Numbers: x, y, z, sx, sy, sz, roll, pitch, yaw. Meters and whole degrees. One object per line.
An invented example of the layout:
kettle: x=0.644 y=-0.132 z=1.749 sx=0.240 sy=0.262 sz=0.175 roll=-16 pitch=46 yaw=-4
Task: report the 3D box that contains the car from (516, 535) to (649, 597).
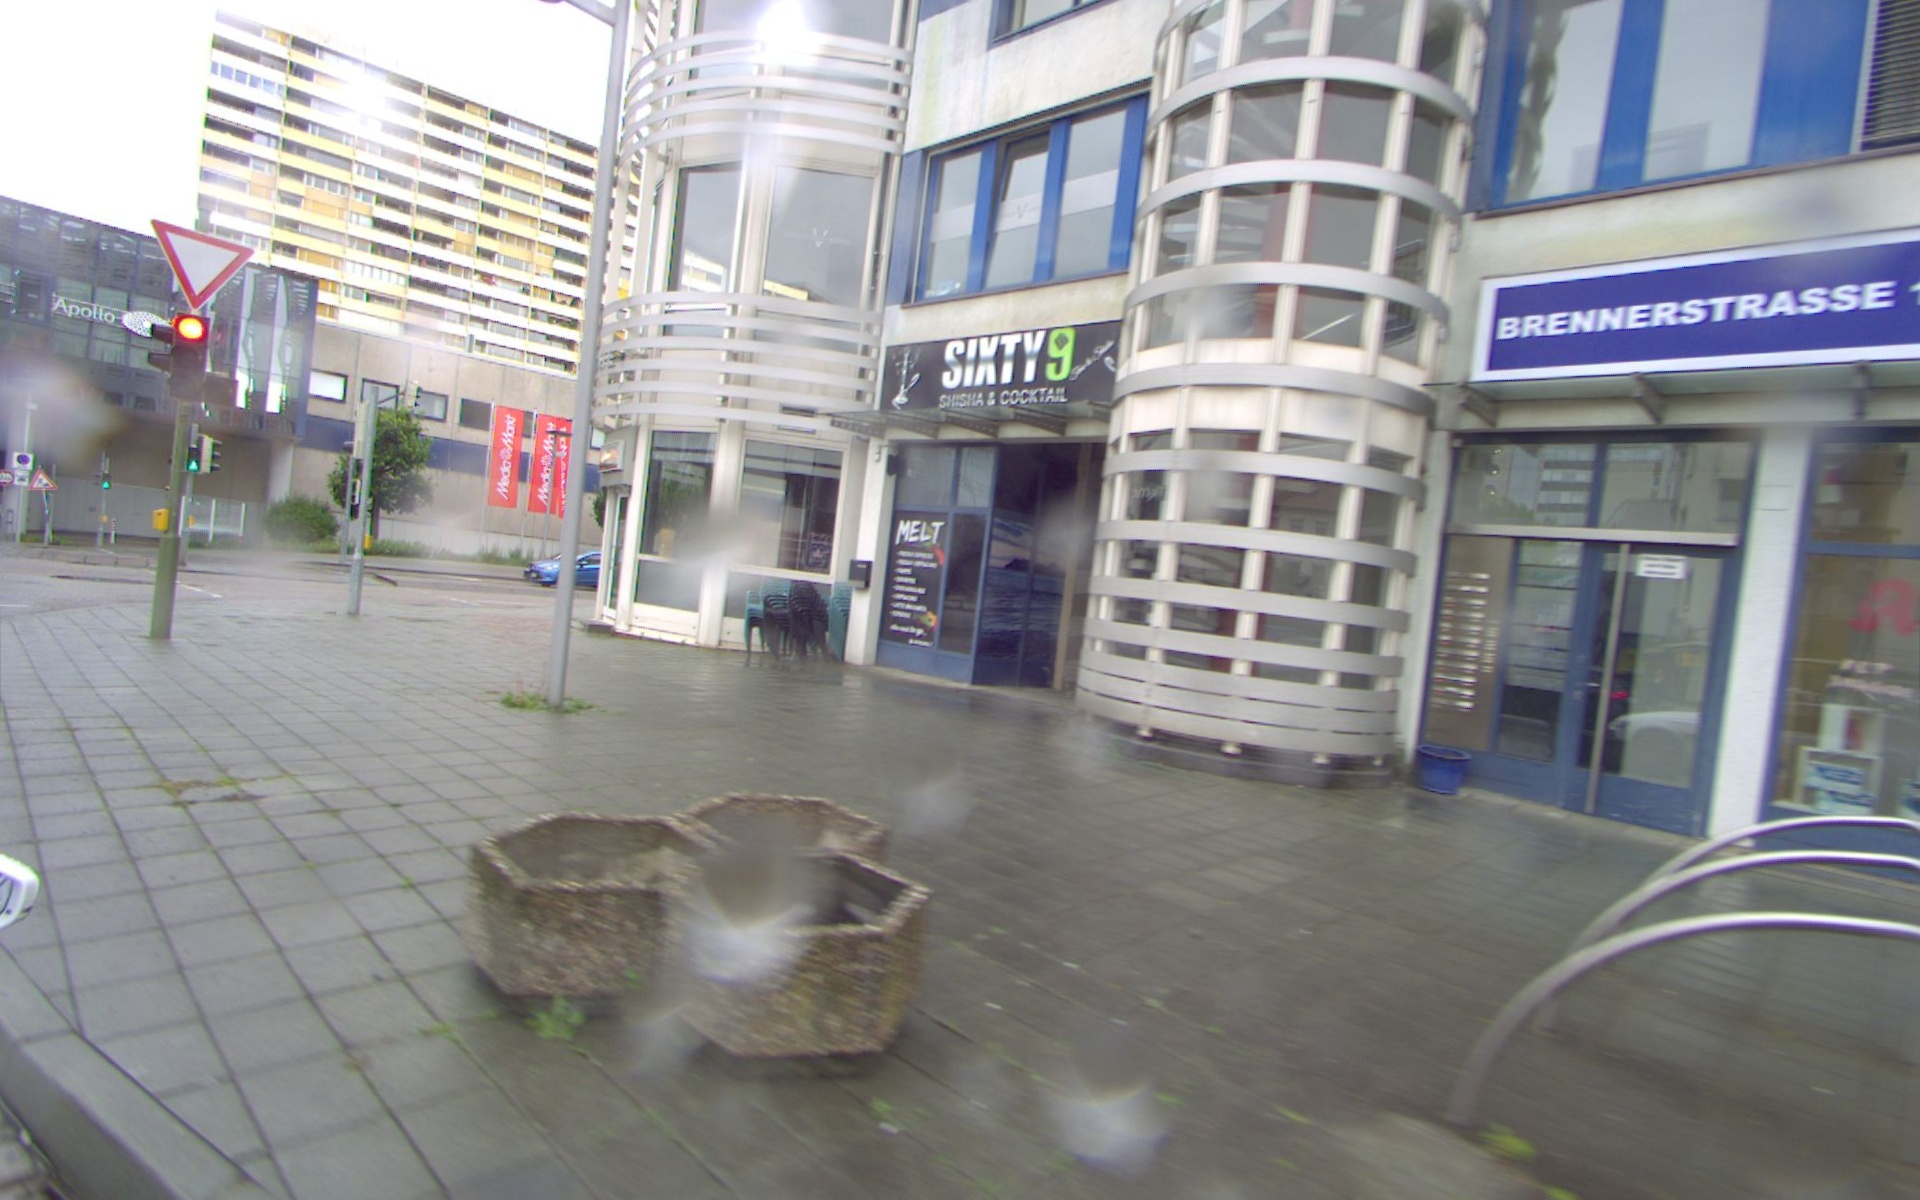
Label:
car: x=-13.718 y=-1.224 z=36.657 sx=3.974 sy=1.738 sz=1.975 roll=6 pitch=1 yaw=-44
